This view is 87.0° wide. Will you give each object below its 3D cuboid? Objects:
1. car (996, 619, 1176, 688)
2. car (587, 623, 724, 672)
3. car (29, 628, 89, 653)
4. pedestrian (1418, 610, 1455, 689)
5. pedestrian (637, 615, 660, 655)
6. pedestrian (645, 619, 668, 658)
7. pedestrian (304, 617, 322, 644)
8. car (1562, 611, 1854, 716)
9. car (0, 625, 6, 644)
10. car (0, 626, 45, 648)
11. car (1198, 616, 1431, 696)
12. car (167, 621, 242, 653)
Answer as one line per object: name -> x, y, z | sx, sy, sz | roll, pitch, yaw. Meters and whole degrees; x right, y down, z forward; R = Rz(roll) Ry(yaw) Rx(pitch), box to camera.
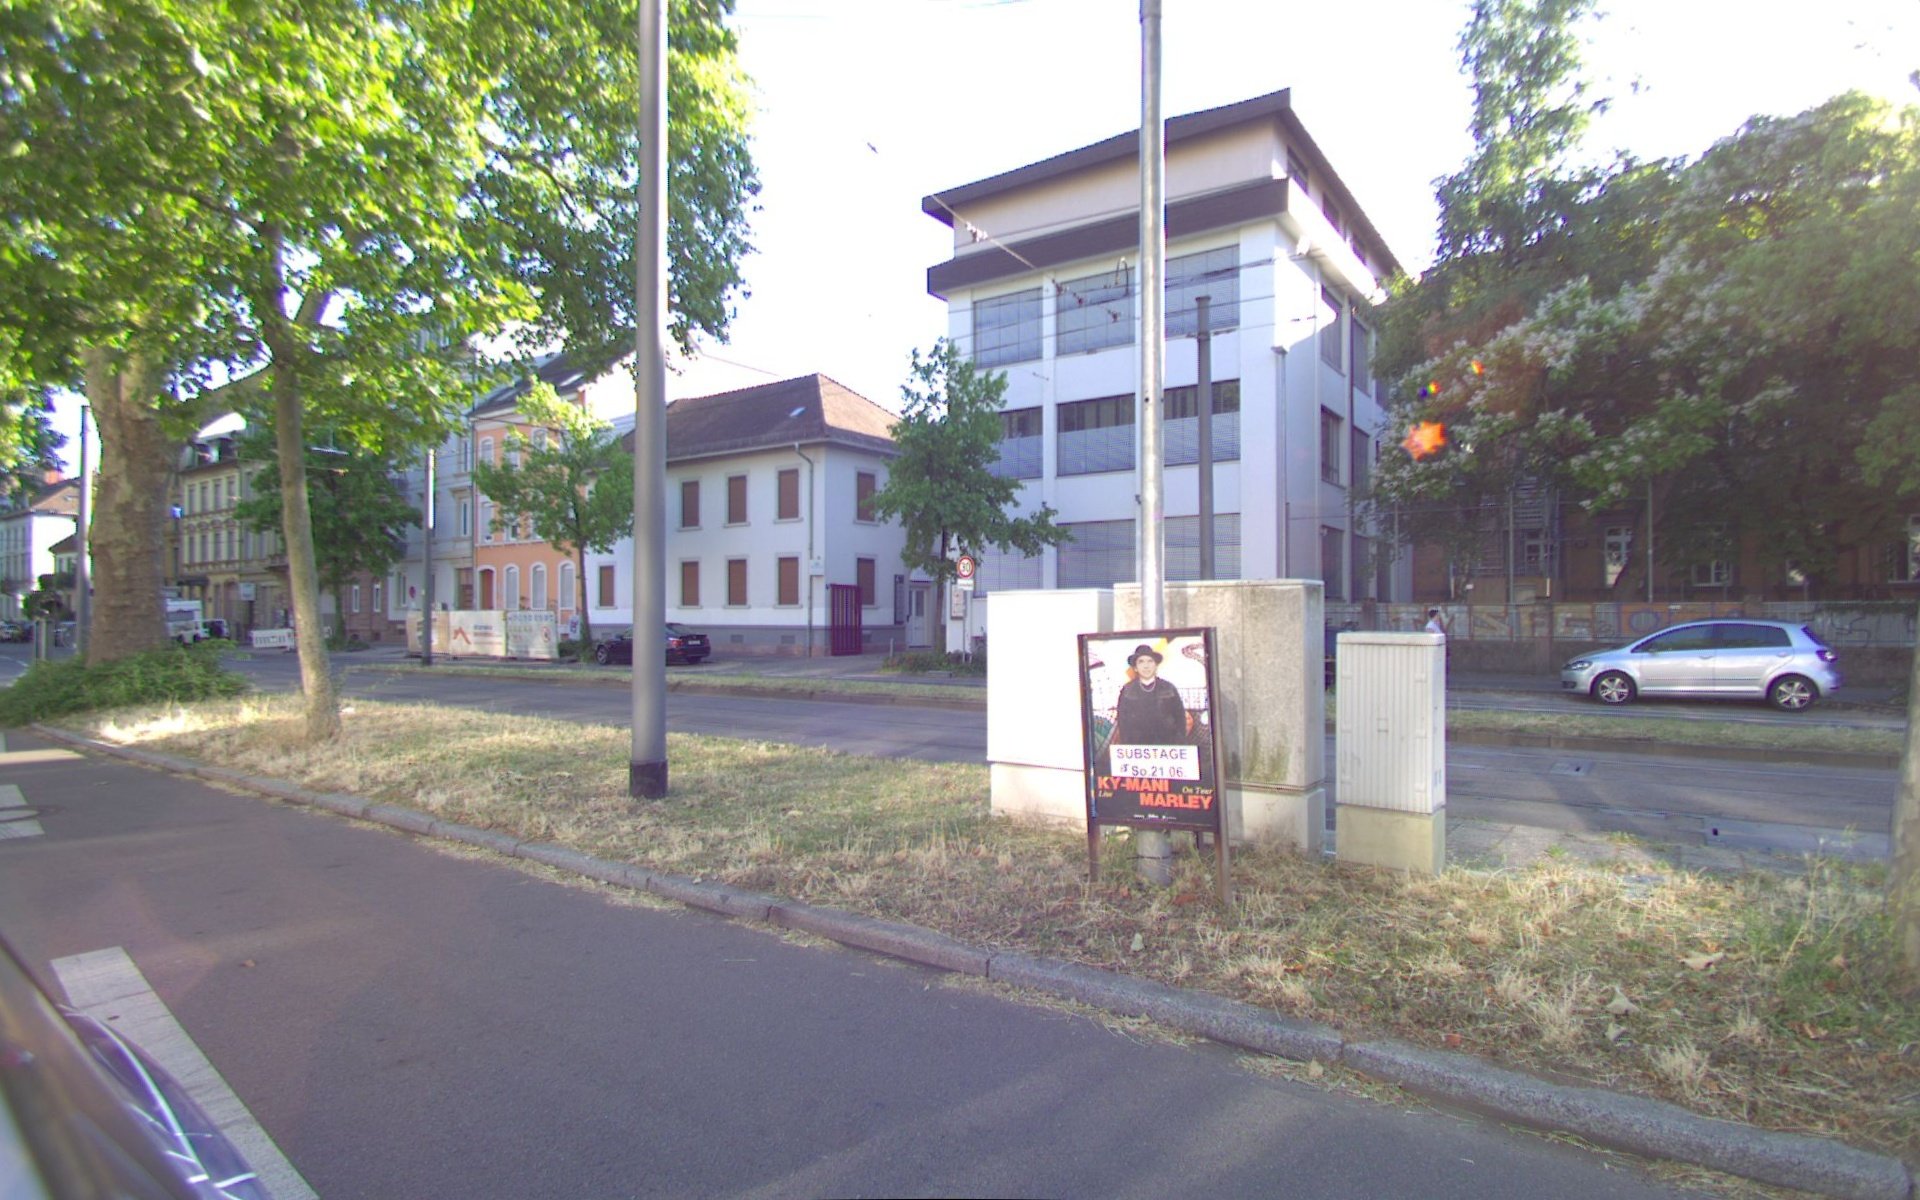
car -> 3.161, 1.297, 25.555 | 3.985, 1.501, 2.065 | -1, 1, 33
car -> -10.575, 1.609, 35.037 | 4.566, 1.481, 2.065 | -1, 1, 33
car -> -63.458, 2.830, 71.280 | 4.503, 1.551, 2.065 | -1, 1, 33
pedestrian -> 10.390, 1.075, 22.079 | 0.630, 1.677, 0.563 | -1, 1, 34
pedestrian -> -11.992, 1.348, 38.969 | 0.708, 1.540, 0.532 | -1, -2, 29
pedestrian -> -12.031, 1.519, 40.110 | 0.710, 1.540, 0.531 | -1, -2, 35
pedestrian -> -37.202, 1.755, 58.183 | 0.612, 1.540, 0.636 | -1, -2, 25
car -> 13.463, 1.081, 18.553 | 4.086, 1.631, 2.065 | -1, 1, 33
car -> -81.335, 2.909, 84.115 | 4.027, 1.551, 2.065 | -1, 1, 33
car -> -73.869, 2.864, 79.206 | 5.090, 1.551, 2.065 | -1, 1, 33
car -> 7.724, 1.156, 22.140 | 4.444, 1.513, 2.065 | -1, 1, 33
car -> -44.094, 2.115, 59.052 | 4.520, 1.686, 2.065 | -1, 1, 33
